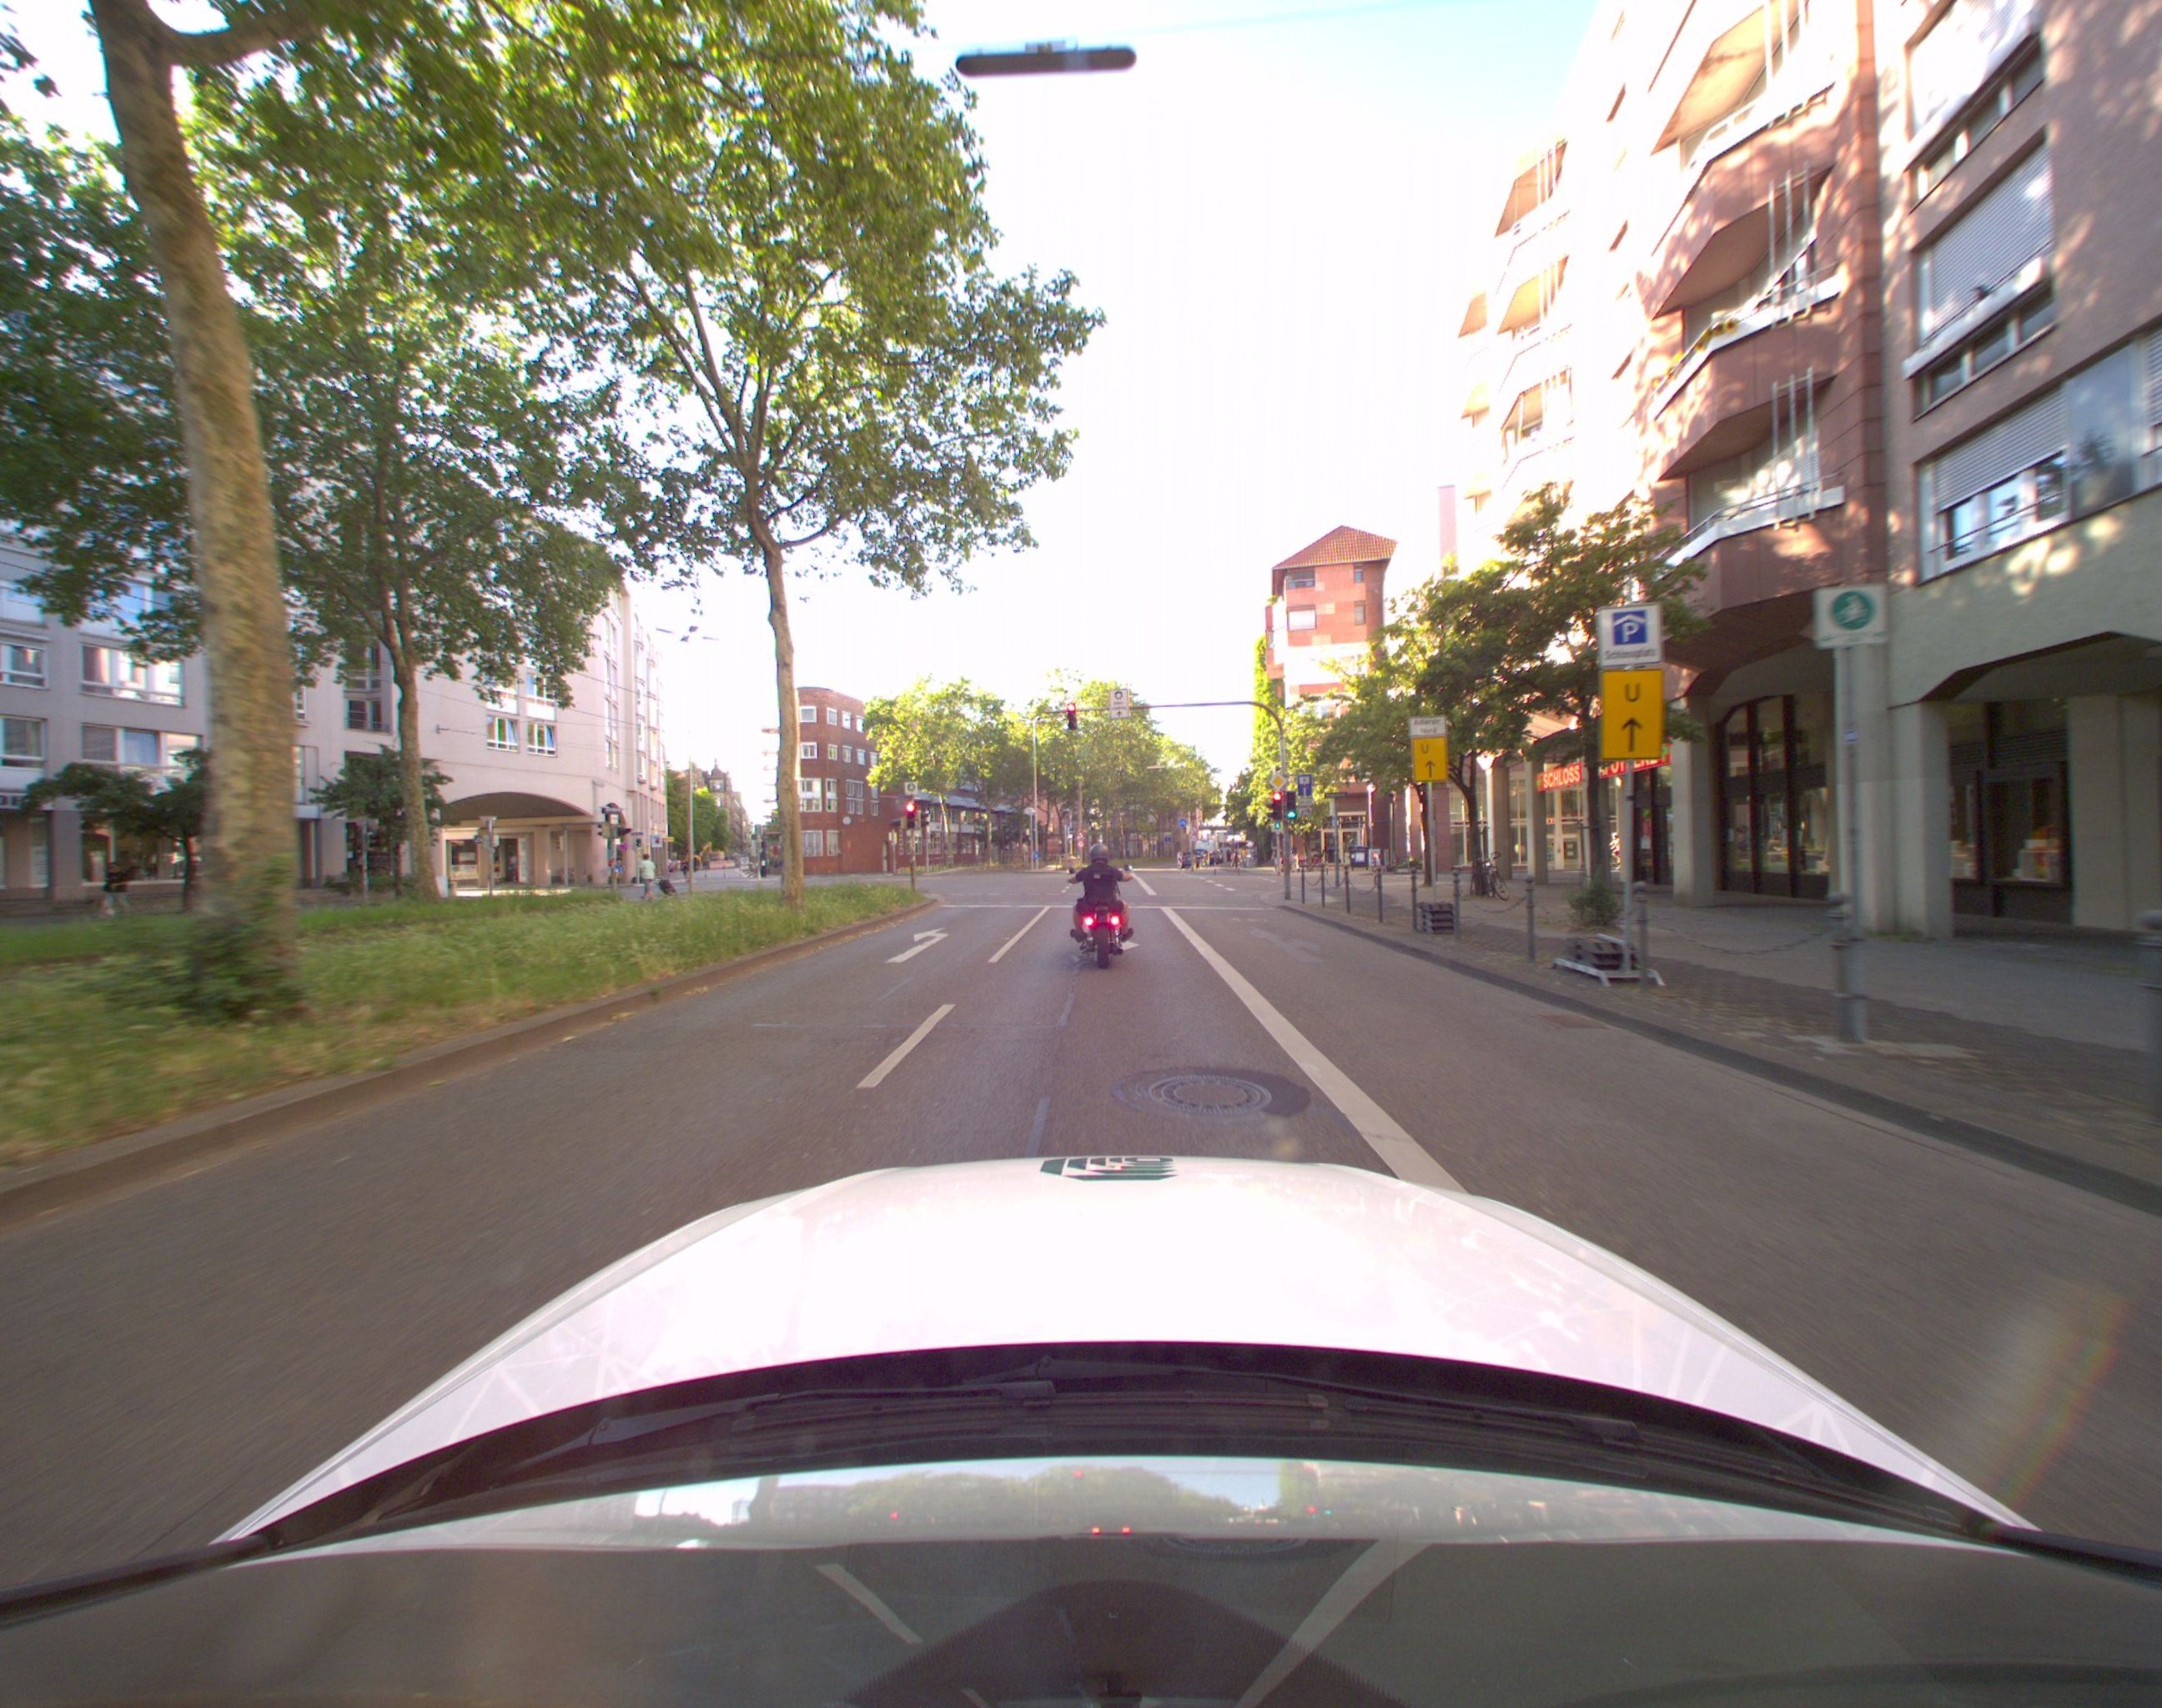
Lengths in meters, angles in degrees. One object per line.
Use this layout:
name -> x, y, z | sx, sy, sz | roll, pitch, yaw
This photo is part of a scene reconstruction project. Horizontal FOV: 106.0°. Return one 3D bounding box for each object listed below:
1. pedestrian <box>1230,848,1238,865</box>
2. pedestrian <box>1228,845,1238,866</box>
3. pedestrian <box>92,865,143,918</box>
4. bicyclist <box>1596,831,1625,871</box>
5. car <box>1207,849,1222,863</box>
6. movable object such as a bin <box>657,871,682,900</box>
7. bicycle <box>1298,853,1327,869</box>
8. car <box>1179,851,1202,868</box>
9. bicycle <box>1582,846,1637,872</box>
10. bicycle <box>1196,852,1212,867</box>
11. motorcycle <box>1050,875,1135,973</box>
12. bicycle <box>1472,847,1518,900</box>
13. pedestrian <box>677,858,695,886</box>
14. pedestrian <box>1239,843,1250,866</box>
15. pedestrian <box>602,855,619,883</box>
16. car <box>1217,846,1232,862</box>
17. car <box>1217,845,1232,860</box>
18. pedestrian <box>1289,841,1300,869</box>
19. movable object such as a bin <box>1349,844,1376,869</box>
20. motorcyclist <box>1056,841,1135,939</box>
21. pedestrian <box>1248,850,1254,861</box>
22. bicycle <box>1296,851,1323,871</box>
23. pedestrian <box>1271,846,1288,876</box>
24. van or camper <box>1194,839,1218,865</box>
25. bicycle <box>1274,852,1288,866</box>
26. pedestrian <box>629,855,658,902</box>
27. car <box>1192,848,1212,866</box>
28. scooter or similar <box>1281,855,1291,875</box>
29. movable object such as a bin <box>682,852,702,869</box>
pedestrian -> 15.381, 0.230, 81.878 | 0.759, 1.645, 0.548 | -1, 0, 5
pedestrian -> 11.601, 0.136, 62.251 | 0.641, 1.578, 0.749 | -1, 0, 6
pedestrian -> -30.681, 1.191, 25.942 | 0.702, 1.638, 0.791 | -1, 0, 13
bicyclist -> 23.975, -0.141, 36.897 | 0.820, 1.770, 0.790 | -1, 0, 11
car -> 15.812, 0.197, 96.650 | 1.610, 1.610, 3.786 | -1, 0, 11
movable object such as a bin -> -13.755, 1.046, 27.228 | 0.506, 0.953, 0.542 | -1, 0, 16
bicycle -> 15.496, 0.469, 54.444 | 1.730, 1.053, 0.744 | -1, 0, 30
car -> 9.079, 0.445, 67.200 | 1.610, 1.302, 4.325 | -1, 0, 11
bicycle -> 23.929, 0.229, 36.909 | 1.903, 1.113, 0.806 | -1, 0, 10
bicycle -> 9.128, 0.407, 60.682 | 0.736, 1.053, 1.748 | -1, 0, -6
motorcycle -> 0.205, 0.875, 10.865 | 1.013, 1.097, 2.010 | -1, 0, 4
bicycle -> 10.327, 0.460, 20.355 | 0.617, 1.225, 1.934 | -1, 0, 15
pedestrian -> -27.730, 1.267, 57.149 | 0.851, 1.869, 0.753 | -2, 0, 3
pedestrian -> 12.462, 0.052, 62.136 | 0.697, 1.733, 0.769 | -1, 0, 6
pedestrian -> -35.383, 1.129, 61.273 | 0.834, 2.013, 0.884 | -1, 0, -10
car -> 18.990, -0.014, 107.586 | 1.823, 2.013, 4.402 | -1, 0, 12
car -> 19.977, -0.155, 113.211 | 1.823, 2.013, 4.402 | -1, 0, 12
pedestrian -> 12.677, 0.061, 48.334 | 0.457, 1.672, 0.680 | -1, 0, 1
movable object such as a bin -> 16.849, 0.132, 48.777 | 1.400, 1.482, 0.875 | -1, 0, 14
motorcyclist -> 0.211, 0.464, 10.994 | 1.007, 1.263, 0.775 | 1, 0, 4
pedestrian -> 20.758, 0.188, 99.585 | 0.760, 1.445, 0.782 | 0, -1, 11
bicycle -> 14.444, 0.438, 51.458 | 1.558, 1.227, 0.579 | -1, 0, 8
pedestrian -> 11.835, 0.388, 48.574 | 0.784, 1.763, 0.609 | -1, 0, -4
van or camper -> 12.910, -0.244, 83.774 | 2.035, 2.540, 5.793 | -1, 0, 13
bicycle -> 14.658, 0.359, 59.745 | 0.733, 0.939, 1.755 | -1, 0, 7
pedestrian -> -14.496, 0.805, 27.001 | 0.613, 1.503, 0.537 | -1, 0, 16
car -> 11.504, 0.232, 77.253 | 1.609, 1.619, 4.500 | -1, 0, 12
scooter or similar -> 12.209, 0.659, 48.548 | 0.392, 1.158, 1.252 | -1, 0, 8
movable object such as a bin -> -55.029, 0.909, 115.324 | 1.928, 2.310, 2.777 | -2, 0, -12
